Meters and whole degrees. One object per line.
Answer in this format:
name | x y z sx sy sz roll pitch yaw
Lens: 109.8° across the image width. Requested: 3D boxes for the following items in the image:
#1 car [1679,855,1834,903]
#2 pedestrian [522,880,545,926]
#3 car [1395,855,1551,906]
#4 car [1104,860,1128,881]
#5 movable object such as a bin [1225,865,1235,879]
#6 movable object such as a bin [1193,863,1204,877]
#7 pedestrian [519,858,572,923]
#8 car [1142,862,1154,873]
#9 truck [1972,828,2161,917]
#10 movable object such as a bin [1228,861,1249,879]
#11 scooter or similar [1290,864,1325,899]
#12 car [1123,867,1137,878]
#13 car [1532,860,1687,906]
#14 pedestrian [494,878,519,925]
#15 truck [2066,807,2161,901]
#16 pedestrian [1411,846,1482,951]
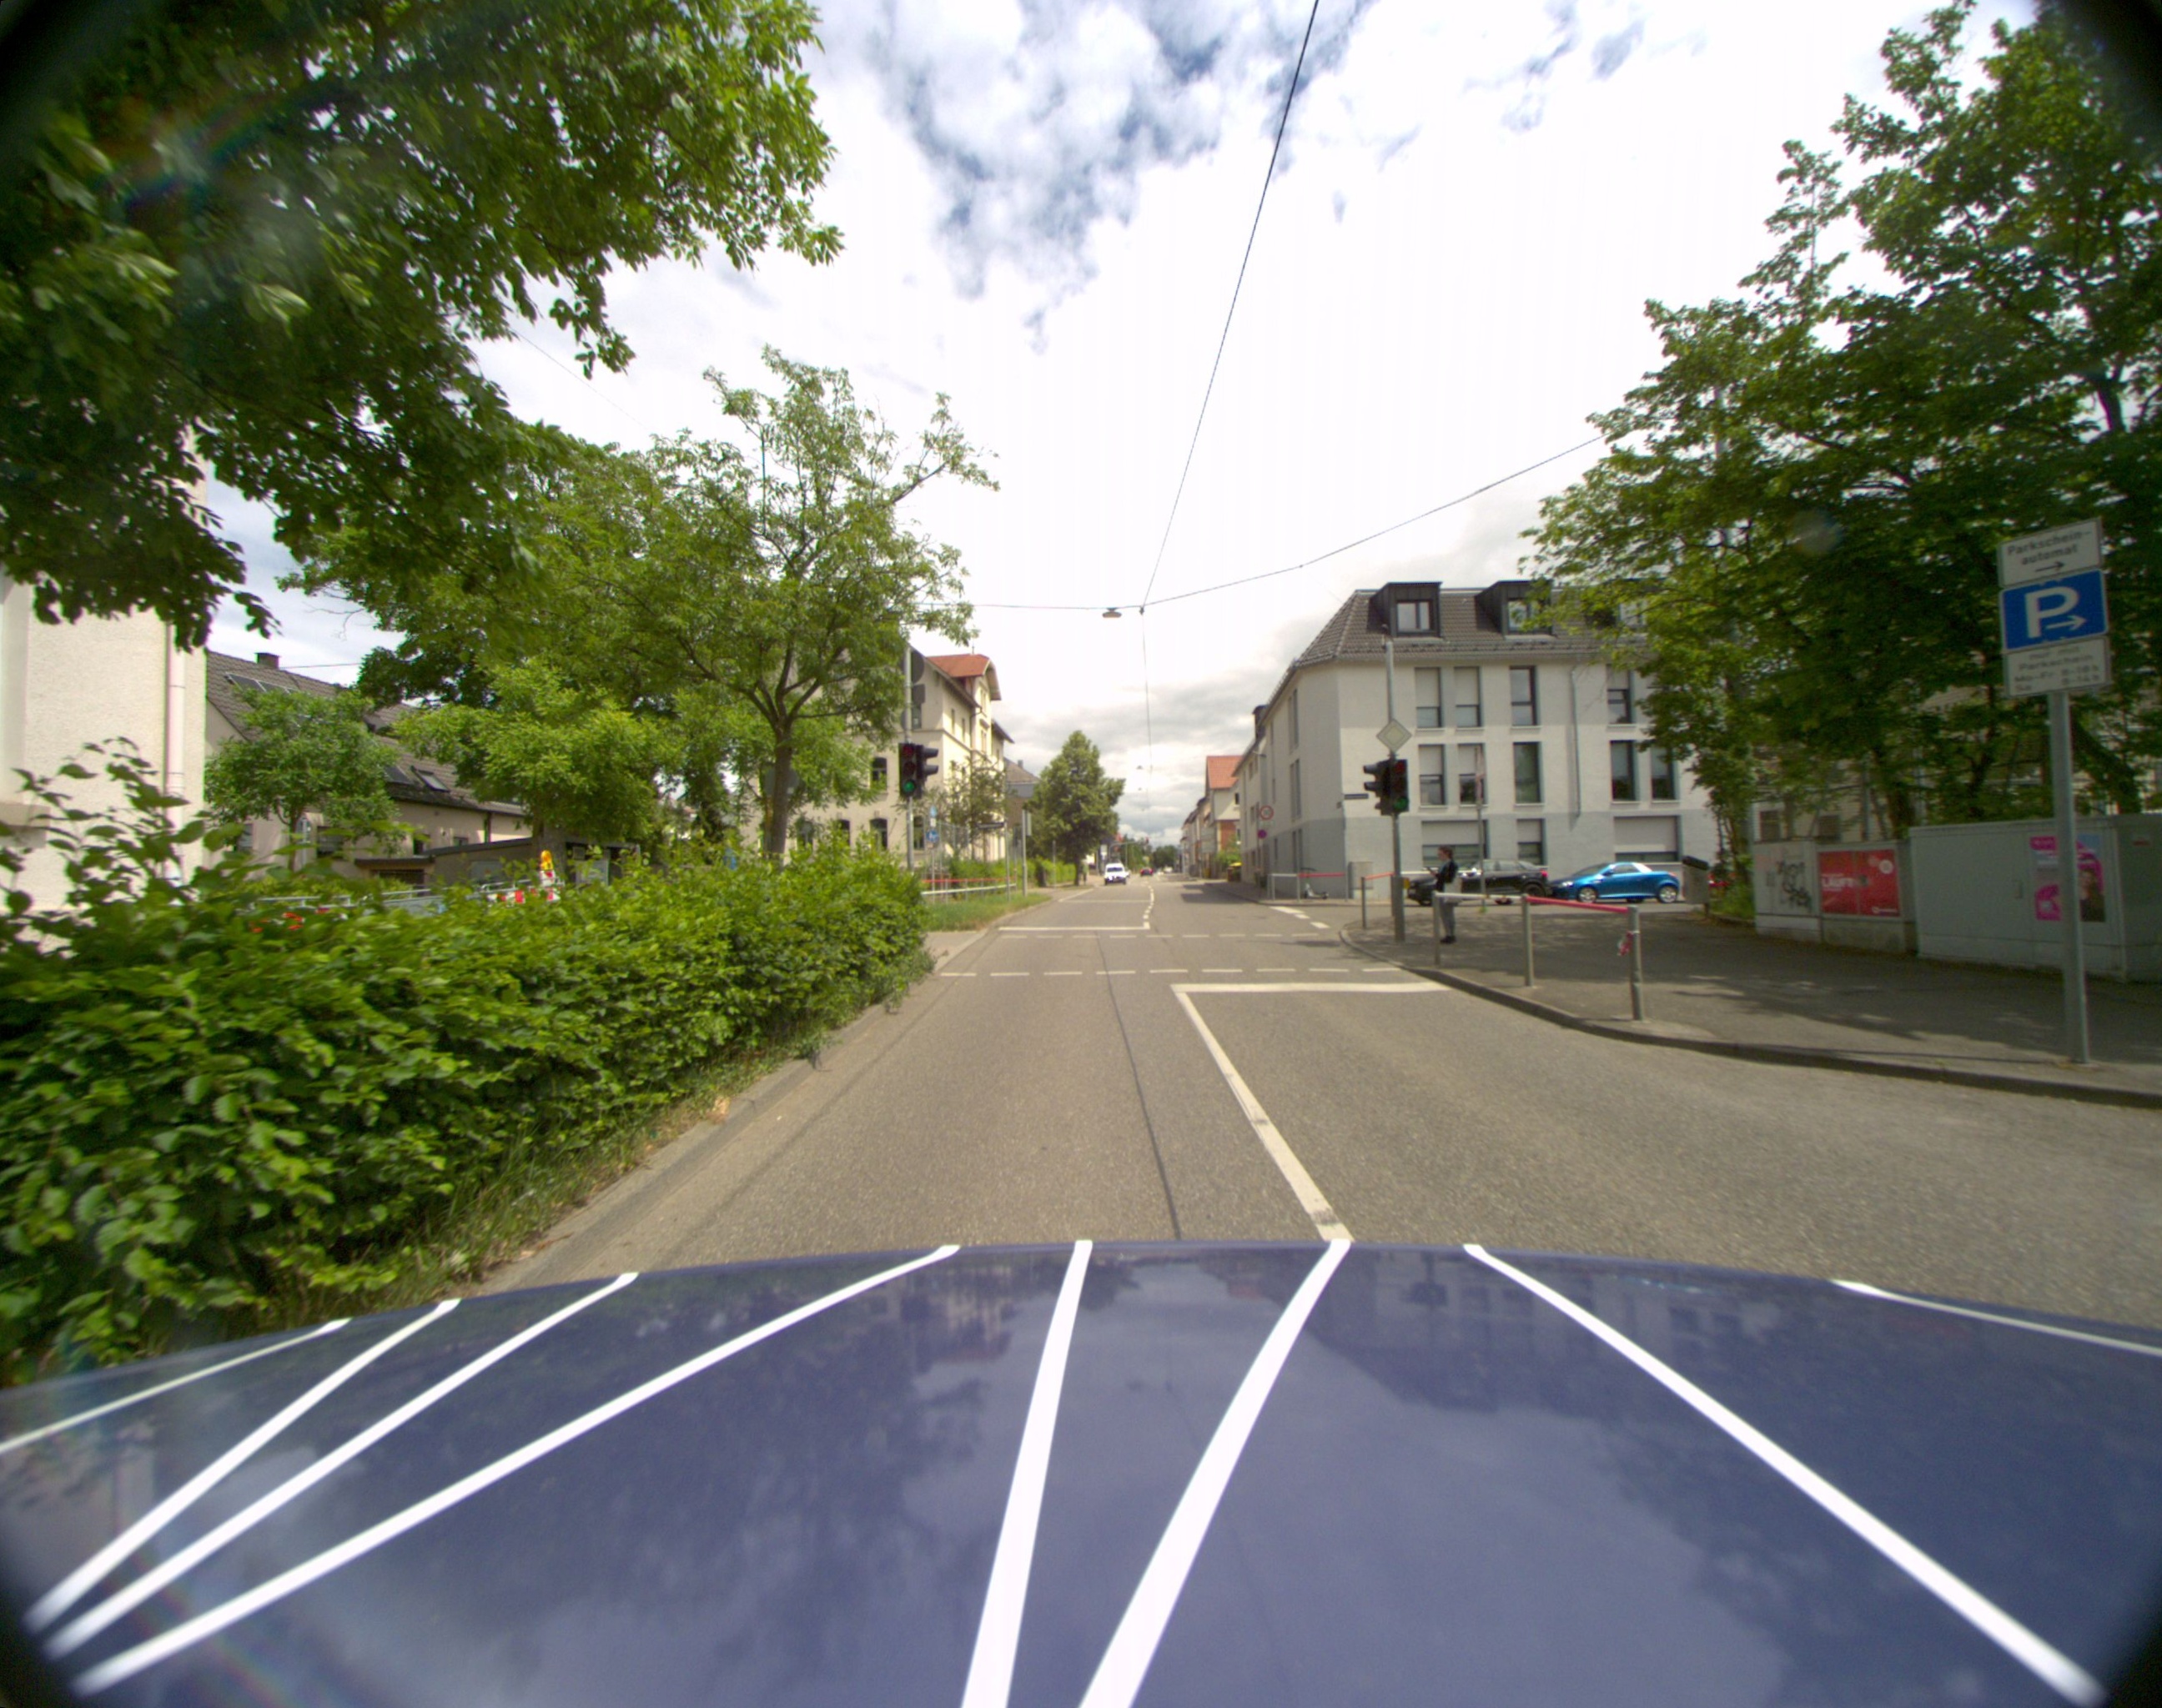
car | 21.761 0.828 24.570 3.610 1.463 1.551 -1 -3 -2
pedestrian | -14.894 1.318 20.679 0.406 1.223 0.461 -1 0 -21
car | 12.501 0.867 24.387 3.997 1.467 1.859 -1 -3 0
car | 3.007 1.407 65.033 1.893 1.717 4.295 -2 -1 3
movable object such as a bin | 11.431 1.371 58.319 0.642 1.069 0.660 -1 0 2
movable object such as a bin | 11.797 1.572 76.271 0.766 1.156 0.801 -13 6 -4
pedestrian | -15.445 1.081 21.958 0.751 1.806 1.147 -1 -4 -5
car | 10.389 2.118 117.303 1.794 1.477 4.003 -3 -2 5
truck | 25.521 0.407 18.556 5.048 2.023 2.145 -1 0 0
movable object such as a bin | 12.373 1.252 59.739 1.338 1.437 1.171 -1 0 1
scooter or similar | 8.399 1.002 28.269 0.491 1.254 1.305 -1 0 -25
car | 6.965 2.654 107.178 1.794 1.477 4.003 -3 -2 5
car | 16.975 0.944 24.538 3.791 1.391 1.603 -1 -3 2
pedestrian | -15.371 1.261 20.350 0.406 1.223 0.461 -1 0 -21
truck | 37.390 0.000 24.777 7.364 2.907 2.506 -1 -4 -3
pedestrian | 5.823 0.691 12.106 0.774 1.588 0.670 -2 0 -36
